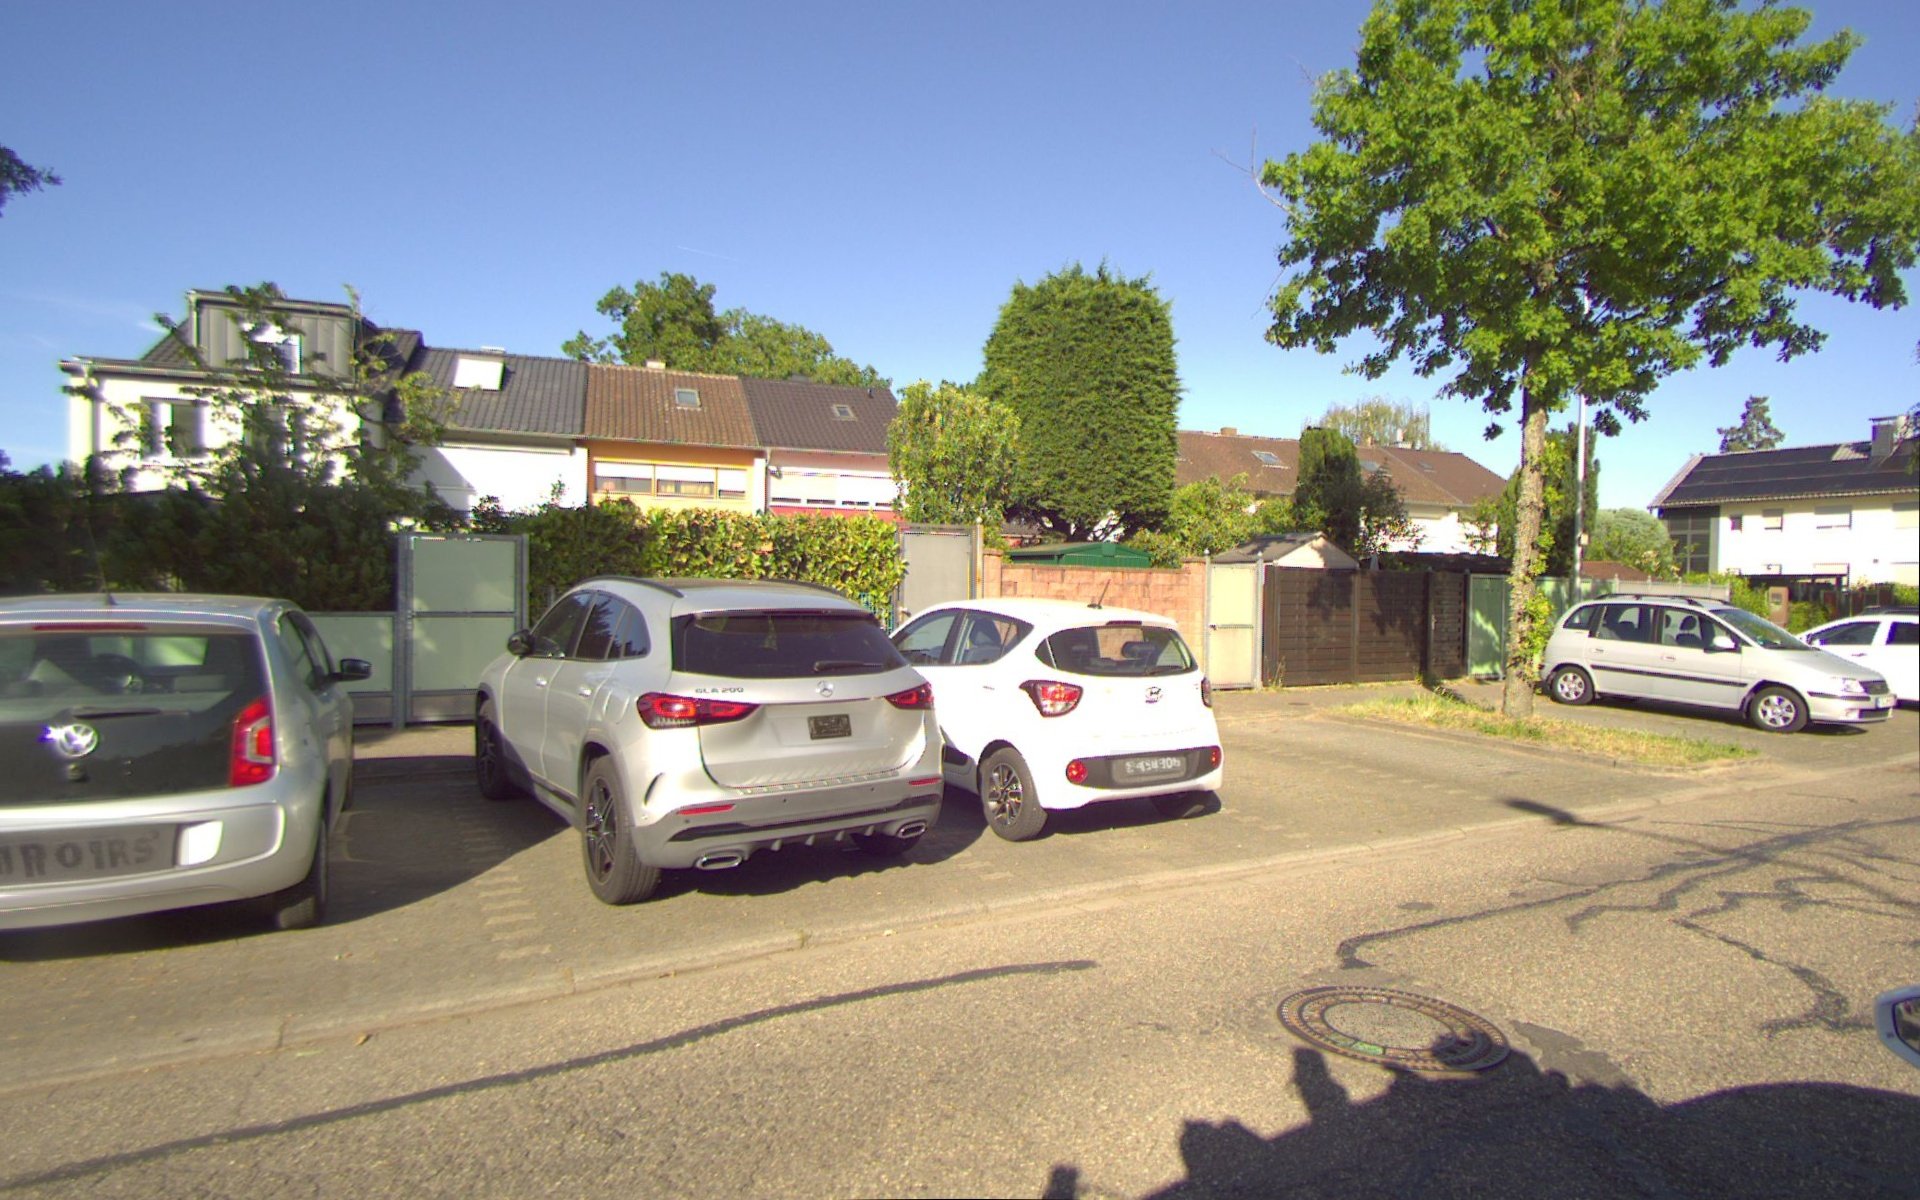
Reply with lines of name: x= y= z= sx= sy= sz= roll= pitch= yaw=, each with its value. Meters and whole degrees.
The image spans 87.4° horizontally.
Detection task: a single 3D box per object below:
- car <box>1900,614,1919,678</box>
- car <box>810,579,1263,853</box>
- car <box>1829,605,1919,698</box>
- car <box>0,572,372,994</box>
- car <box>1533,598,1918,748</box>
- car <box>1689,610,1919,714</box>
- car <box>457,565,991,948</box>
car: x=23.215 y=1.079 z=21.474 sx=1.703 sy=1.443 sz=4.252 roll=1 pitch=0 yaw=-29
car: x=0.354 y=0.661 z=7.708 sx=1.689 sy=1.516 sz=3.494 roll=2 pitch=1 yaw=-32
car: x=19.323 y=1.008 z=18.866 sx=1.739 sy=1.747 sz=4.191 roll=1 pitch=0 yaw=-29
car: x=-4.077 y=0.657 z=5.259 sx=1.596 sy=1.498 sz=3.280 roll=2 pitch=1 yaw=-29
car: x=10.529 y=0.876 z=14.150 sx=1.685 sy=1.636 sz=3.921 roll=0 pitch=2 yaw=-29
car: x=14.975 y=0.983 z=16.912 sx=1.774 sy=1.535 sz=3.983 roll=1 pitch=0 yaw=-29
car: x=-1.783 y=0.642 z=6.443 sx=1.904 sy=1.595 sz=3.924 roll=2 pitch=1 yaw=-37
